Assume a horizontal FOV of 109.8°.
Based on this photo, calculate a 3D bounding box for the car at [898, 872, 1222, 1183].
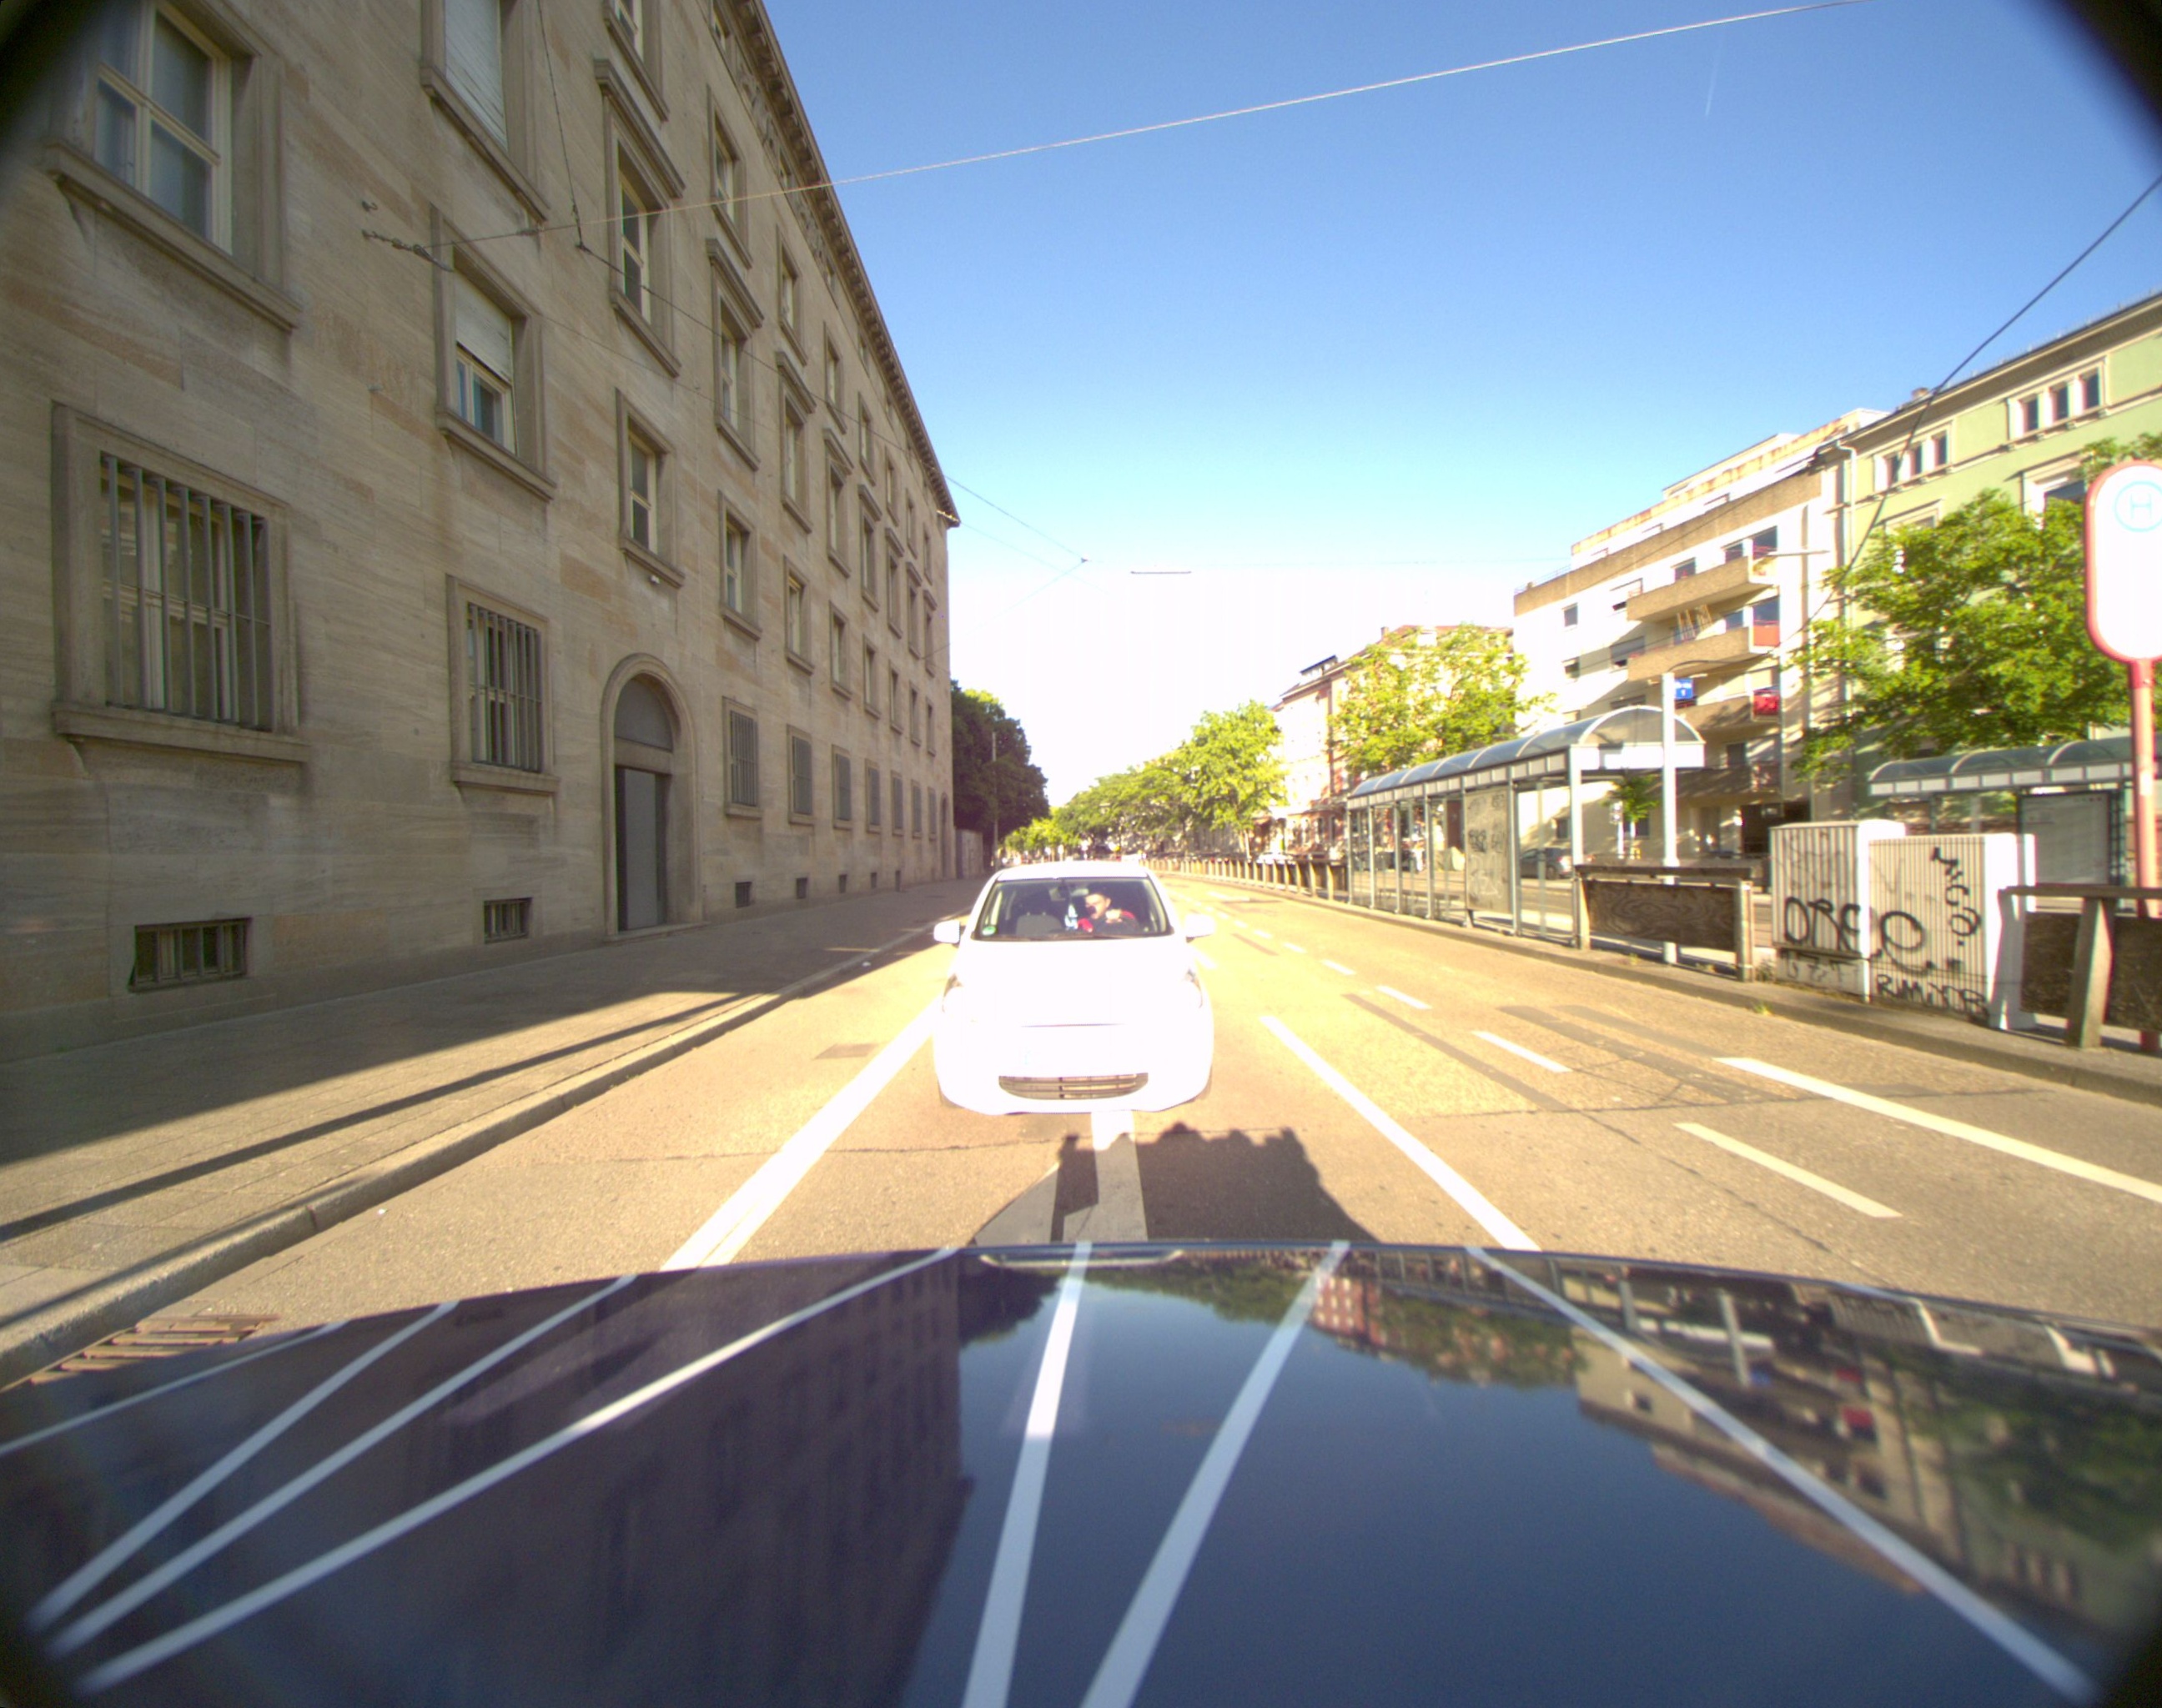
[{"bbox_3d":[-0.082,0.923,5.668,1.612,1.450,3.667,-1,0,1],"label":"car"}]

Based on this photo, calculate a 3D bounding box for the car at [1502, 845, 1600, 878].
[{"bbox_3d":[20.844,0.316,33.835,1.615,1.387,3.516,-1,0,-19],"label":"car"}]

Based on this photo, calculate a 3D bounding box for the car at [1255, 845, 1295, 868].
[{"bbox_3d":[16.304,0.163,63.678,1.994,1.713,4.007,0,2,34],"label":"car"}]

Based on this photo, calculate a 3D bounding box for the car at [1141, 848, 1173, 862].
[{"bbox_3d":[9.564,0.129,95.716,3.864,1.583,2.001,-1,0,4],"label":"car"}]

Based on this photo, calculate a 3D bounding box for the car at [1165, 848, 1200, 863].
[{"bbox_3d":[11.436,0.143,86.090,3.864,1.583,2.001,-1,0,5],"label":"car"}]

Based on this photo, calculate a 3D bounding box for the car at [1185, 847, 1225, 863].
[{"bbox_3d":[13.157,0.084,80.530,3.996,1.674,2.000,-1,0,4],"label":"car"}]

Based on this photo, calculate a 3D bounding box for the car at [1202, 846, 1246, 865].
[{"bbox_3d":[13.636,0.128,72.593,3.996,1.674,2.000,-1,0,4],"label":"car"}]

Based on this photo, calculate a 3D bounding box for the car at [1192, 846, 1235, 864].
[{"bbox_3d":[13.350,0.112,76.727,3.996,1.674,2.000,-1,0,4],"label":"car"}]

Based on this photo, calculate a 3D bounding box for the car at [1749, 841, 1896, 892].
[{"bbox_3d":[23.932,0.369,24.551,3.796,1.526,1.772,-1,0,-17],"label":"car"}]
